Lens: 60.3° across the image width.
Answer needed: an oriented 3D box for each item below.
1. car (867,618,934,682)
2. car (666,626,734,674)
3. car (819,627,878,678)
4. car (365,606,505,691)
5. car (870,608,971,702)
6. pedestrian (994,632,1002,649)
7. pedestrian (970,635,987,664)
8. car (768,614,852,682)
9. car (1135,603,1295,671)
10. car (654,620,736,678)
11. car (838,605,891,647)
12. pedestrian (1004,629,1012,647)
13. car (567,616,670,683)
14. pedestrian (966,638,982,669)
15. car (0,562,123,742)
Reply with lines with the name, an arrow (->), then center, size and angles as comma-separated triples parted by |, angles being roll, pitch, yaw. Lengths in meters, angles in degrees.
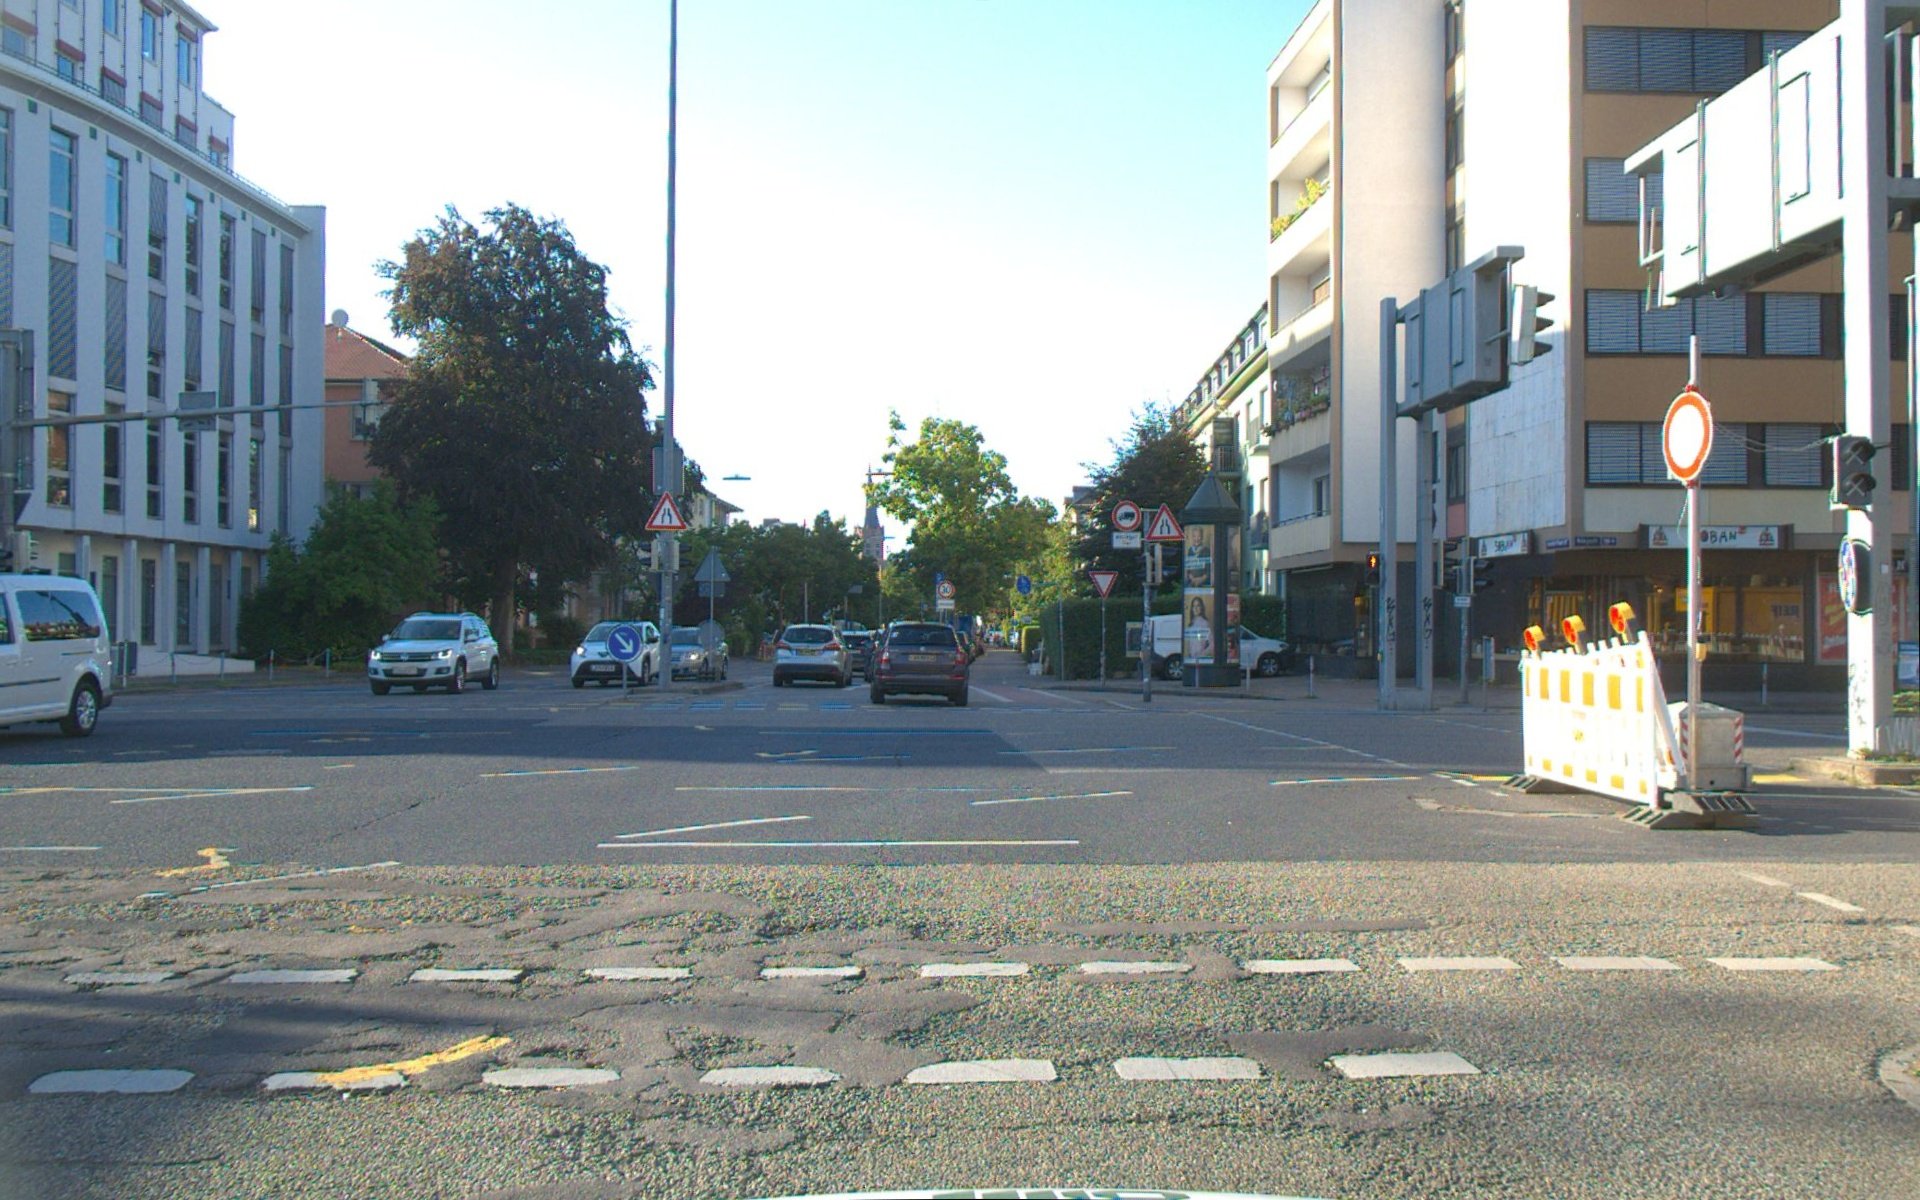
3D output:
car -> -1.643, 1.351, 46.044 | 1.782, 1.669, 3.999 | 0, 0, -1
car -> -8.707, 1.661, 55.652 | 1.840, 1.534, 3.997 | 0, 0, -3
car -> -3.734, 1.739, 55.874 | 1.712, 1.591, 4.049 | 0, 0, 0
car -> -11.008, 0.973, 34.952 | 1.843, 1.683, 4.047 | 0, 0, -3
car -> -0.673, 0.949, 30.125 | 1.712, 1.591, 4.049 | 0, 0, 0
pedestrian -> 3.702, 3.973, 162.954 | 0.750, 1.713, 0.999 | 0, -1, -1
pedestrian -> 1.319, 3.523, 118.264 | 1.185, 2.049, 1.421 | 0, -1, -2
car -> -3.646, 1.134, 40.791 | 1.712, 1.591, 4.049 | 0, 0, 0
car -> 7.282, 1.045, 47.556 | 4.276, 1.910, 1.999 | 0, -1, -2
car -> -7.249, 1.311, 45.525 | 1.811, 1.487, 4.047 | 0, 0, -3
car -> -3.809, 1.076, 66.248 | 1.953, 1.534, 3.998 | -1, -2, -1
pedestrian -> 4.745, 3.740, 163.527 | 0.750, 1.713, 0.999 | 0, -1, -1
car -> -8.044, 1.139, 39.264 | 1.811, 1.487, 4.047 | 0, 0, -3
pedestrian -> 0.744, 2.878, 89.527 | 0.845, 1.636, 0.705 | 0, -1, -2
car -> -10.785, 0.535, 17.287 | 1.877, 1.843, 4.714 | 0, 0, -3
